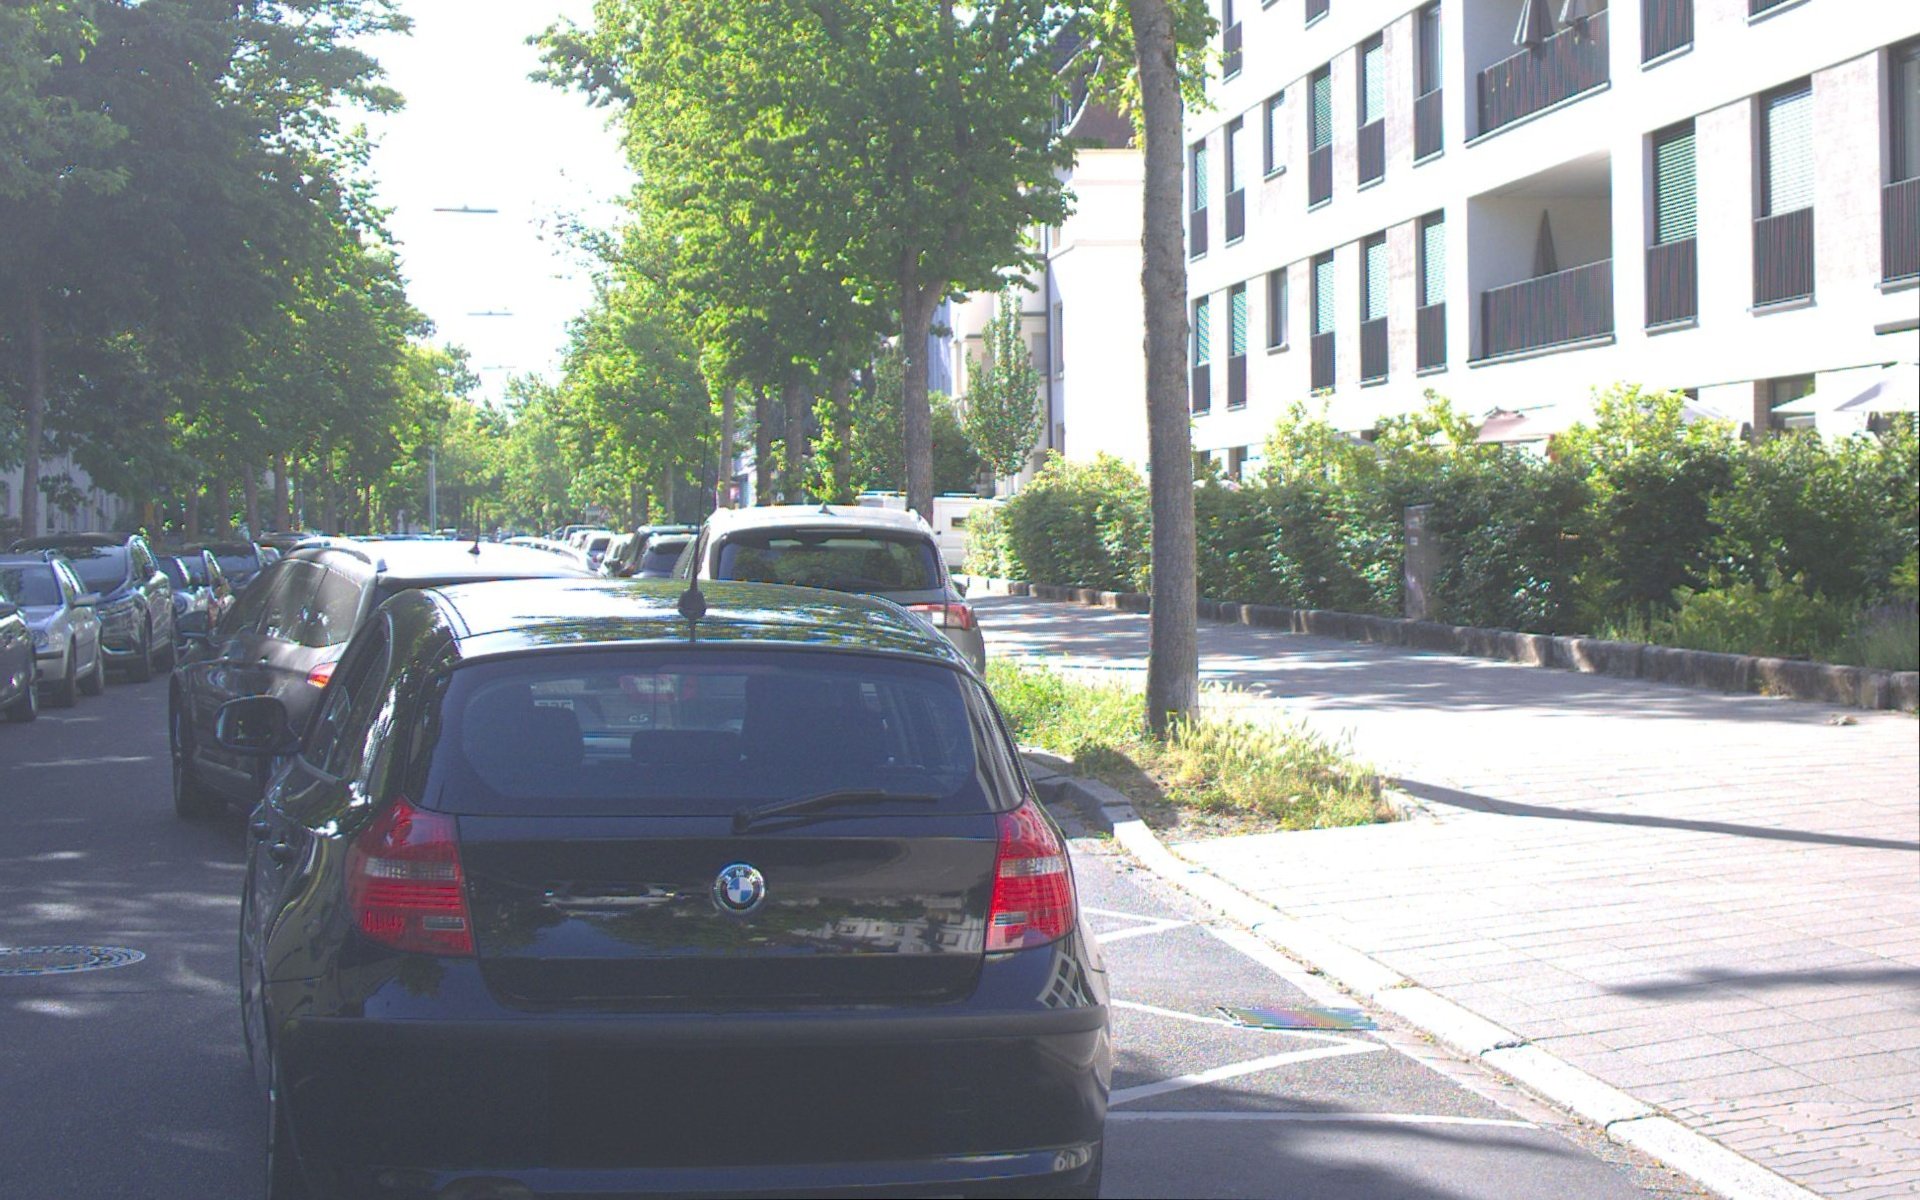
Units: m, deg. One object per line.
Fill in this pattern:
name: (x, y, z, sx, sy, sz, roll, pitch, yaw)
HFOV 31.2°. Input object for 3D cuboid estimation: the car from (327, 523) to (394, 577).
car: (-16.446, -1.379, 94.408, 1.612, 1.387, 3.867, -2, 1, -7)

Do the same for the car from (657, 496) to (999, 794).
car: (-0.910, 0.214, 20.981, 1.847, 1.625, 4.411, 0, 1, -5)

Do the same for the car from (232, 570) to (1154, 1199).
car: (-0.813, 0.674, 7.964, 1.649, 1.392, 3.413, -2, 2, -12)

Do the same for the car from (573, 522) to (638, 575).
car: (-10.484, -1.531, 101.762, 1.720, 1.475, 3.852, -2, 1, -4)

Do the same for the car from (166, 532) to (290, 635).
car: (-11.797, -0.299, 55.597, 1.612, 1.537, 3.867, -2, 1, -7)

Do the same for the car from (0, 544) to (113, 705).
car: (-9.210, 0.211, 33.077, 1.612, 1.422, 3.727, -2, 1, -7)

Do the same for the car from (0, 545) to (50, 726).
car: (-8.543, 0.298, 28.025, 1.612, 1.422, 4.059, -2, 1, -7)

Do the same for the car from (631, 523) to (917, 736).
car: (-1.516, 0.170, 26.647, 1.693, 1.518, 4.001, 0, 1, -11)

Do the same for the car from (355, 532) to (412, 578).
car: (-18.181, -1.430, 108.562, 1.612, 1.387, 3.867, -2, 1, -7)

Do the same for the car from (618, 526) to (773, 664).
car: (-3.196, -0.096, 40.987, 1.720, 1.523, 4.001, 1, 1, -6)

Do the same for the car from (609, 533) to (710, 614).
car: (-5.442, -0.502, 61.995, 1.720, 1.374, 3.852, 1, 1, -6)

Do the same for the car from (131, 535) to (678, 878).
car: (-2.833, 0.417, 16.808, 1.649, 1.420, 4.002, -2, 2, -24)

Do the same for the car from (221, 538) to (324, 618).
car: (-12.967, -0.435, 64.983, 1.612, 1.387, 3.867, -2, 1, -7)

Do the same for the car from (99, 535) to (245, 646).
car: (-11.123, -0.167, 48.716, 1.612, 1.447, 3.867, -2, 1, -7)

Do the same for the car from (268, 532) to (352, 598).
car: (-14.660, -0.815, 77.646, 1.612, 1.387, 3.867, -2, 1, -7)

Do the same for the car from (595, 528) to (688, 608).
car: (-6.190, -0.649, 66.728, 1.720, 1.475, 3.852, 1, 1, -6)

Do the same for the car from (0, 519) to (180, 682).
car: (-9.782, -0.042, 38.485, 1.612, 1.673, 4.235, -2, 1, -7)

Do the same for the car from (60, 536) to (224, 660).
car: (-10.453, -0.060, 44.151, 1.612, 1.447, 3.867, -2, 1, -7)

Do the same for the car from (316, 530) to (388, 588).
car: (-15.730, -1.077, 89.033, 1.612, 1.387, 3.867, -2, 1, -7)

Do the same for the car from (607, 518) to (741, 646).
car: (-3.941, -0.279, 46.948, 1.720, 1.635, 3.852, 1, 1, -6)

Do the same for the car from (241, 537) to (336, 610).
car: (-13.690, -0.556, 70.207, 1.612, 1.387, 3.867, -2, 1, -7)
